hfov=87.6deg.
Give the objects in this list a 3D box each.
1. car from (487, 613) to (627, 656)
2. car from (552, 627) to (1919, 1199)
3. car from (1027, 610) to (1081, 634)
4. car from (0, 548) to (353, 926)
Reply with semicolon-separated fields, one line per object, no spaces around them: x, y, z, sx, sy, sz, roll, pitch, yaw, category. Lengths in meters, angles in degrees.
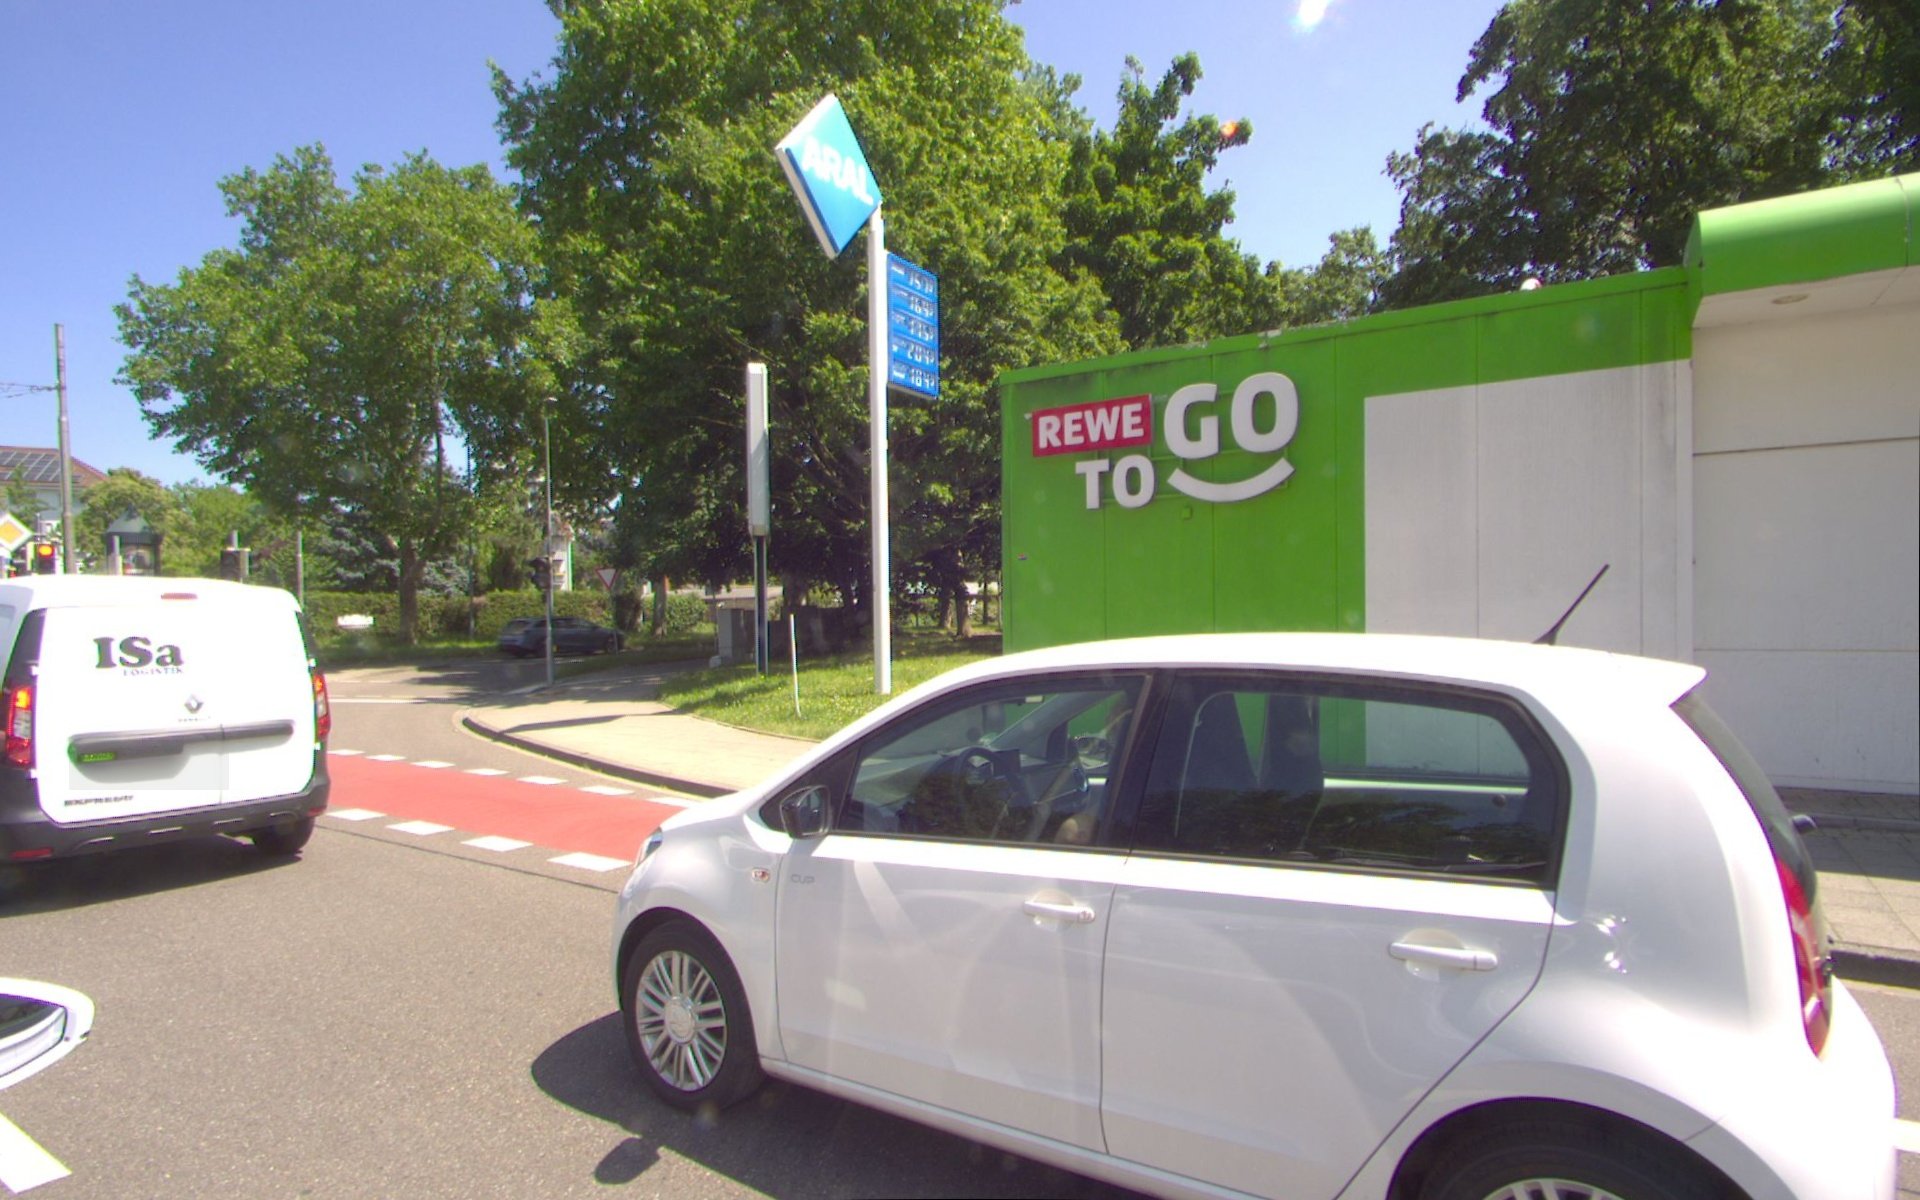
-15.433;1.279;38.523;1.975;1.545;4.663;-1;-1;37;car
0.507;0.821;3.076;3.472;1.470;1.603;-1;-1;34;car
5.892;1.364;62.445;1.523;1.397;3.976;-1;0;36;car
-5.960;0.715;6.665;3.956;1.854;1.707;-1;-1;32;car
